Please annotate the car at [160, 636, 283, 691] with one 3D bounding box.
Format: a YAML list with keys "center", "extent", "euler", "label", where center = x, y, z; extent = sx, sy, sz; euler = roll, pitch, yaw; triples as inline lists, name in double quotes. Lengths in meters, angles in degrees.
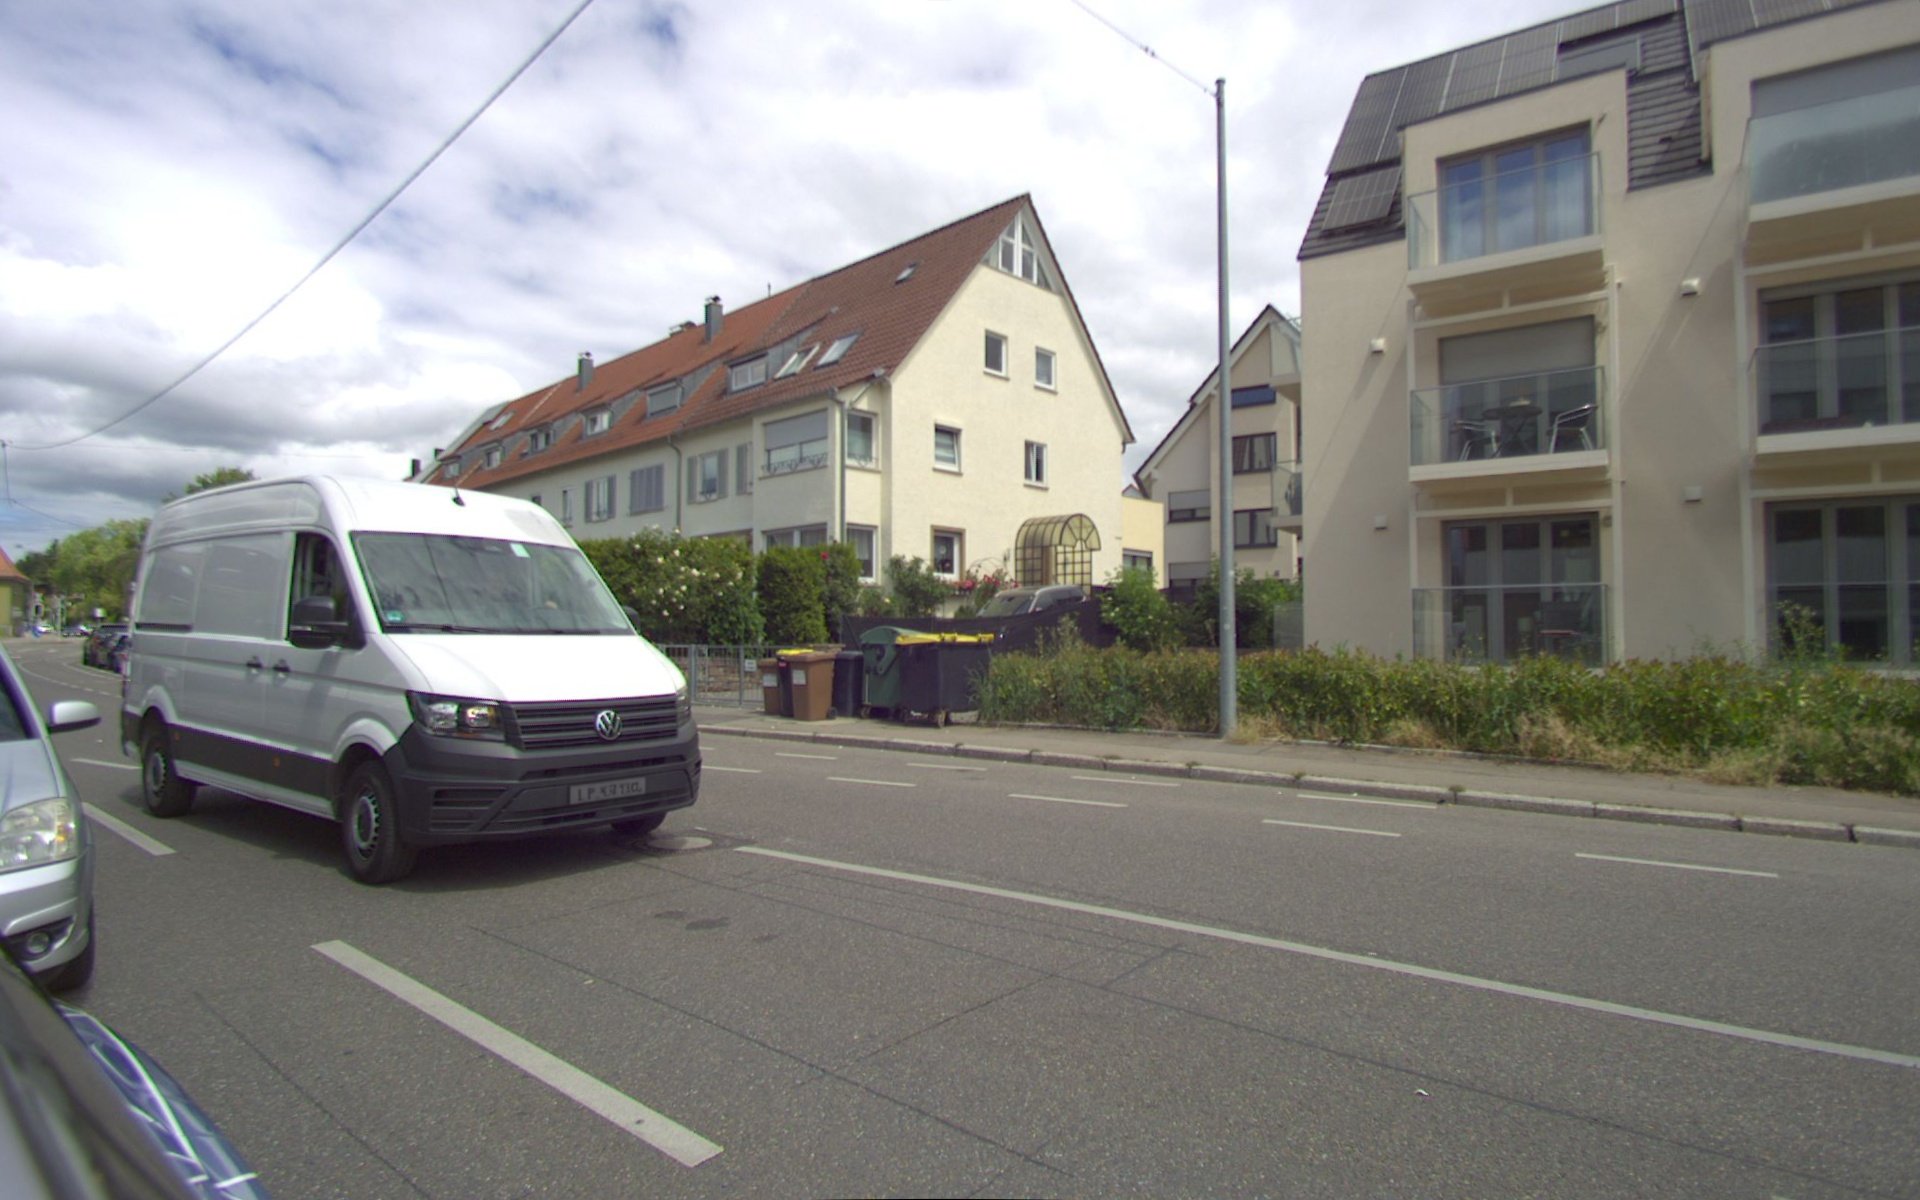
- center: [-20.962, 1.738, 28.665]
  extent: [4.690, 1.419, 1.971]
  euler: [-2, -3, 43]
  label: "car"

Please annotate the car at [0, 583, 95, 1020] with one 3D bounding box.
- center: [-5.360, 0.764, 4.716]
  extent: [4.332, 1.552, 1.684]
  euler: [-2, -1, 45]
  label: "car"

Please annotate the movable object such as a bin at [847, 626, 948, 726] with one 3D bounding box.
- center: [-0.987, 1.170, 15.978]
  extent: [1.213, 1.493, 1.054]
  euler: [-2, -3, 39]
  label: "movable object such as a bin"

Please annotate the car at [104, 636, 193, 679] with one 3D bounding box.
- center: [-28.788, 1.986, 35.851]
  extent: [4.439, 1.428, 1.759]
  euler: [-1, -3, 42]
  label: "car"

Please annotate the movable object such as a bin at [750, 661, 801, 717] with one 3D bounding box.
- center: [-3.078, 1.466, 16.890]
  extent: [0.614, 0.886, 0.589]
  euler: [-2, -3, 41]
  label: "movable object such as a bin"

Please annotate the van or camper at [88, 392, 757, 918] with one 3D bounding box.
- center: [-4.332, 0.390, 7.563]
  extent: [5.909, 2.600, 2.007]
  euler: [-3, -2, 36]
  label: "van or camper"

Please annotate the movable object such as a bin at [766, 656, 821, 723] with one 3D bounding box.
- center: [-2.684, 1.424, 16.345]
  extent: [0.658, 1.032, 0.589]
  euler: [-2, -3, 41]
  label: "movable object such as a bin"

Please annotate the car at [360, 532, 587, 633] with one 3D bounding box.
- center: [-8.809, -0.213, 18.175]
  extent: [4.485, 1.599, 1.973]
  euler: [-1, -3, 40]
  label: "car"

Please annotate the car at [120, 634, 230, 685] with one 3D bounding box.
- center: [-25.112, 1.841, 32.331]
  extent: [4.561, 1.503, 1.760]
  euler: [-1, -3, 39]
  label: "car"

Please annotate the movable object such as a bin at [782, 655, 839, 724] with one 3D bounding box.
- center: [-2.320, 1.380, 15.744]
  extent: [0.658, 1.015, 0.589]
  euler: [-2, -3, 41]
  label: "movable object such as a bin"

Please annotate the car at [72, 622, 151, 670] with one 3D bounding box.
- center: [-36.354, 1.946, 43.321]
  extent: [5.405, 1.909, 1.971]
  euler: [-2, -5, 44]
  label: "car"

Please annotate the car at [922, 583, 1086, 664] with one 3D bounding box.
- center: [1.101, 0.523, 23.586]
  extent: [1.802, 1.719, 3.946]
  euler: [-2, -1, 40]
  label: "car"

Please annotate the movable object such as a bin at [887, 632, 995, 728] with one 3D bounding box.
- center: [-0.280, 1.141, 14.889]
  extent: [1.214, 1.323, 1.053]
  euler: [-2, -3, 43]
  label: "movable object such as a bin"
